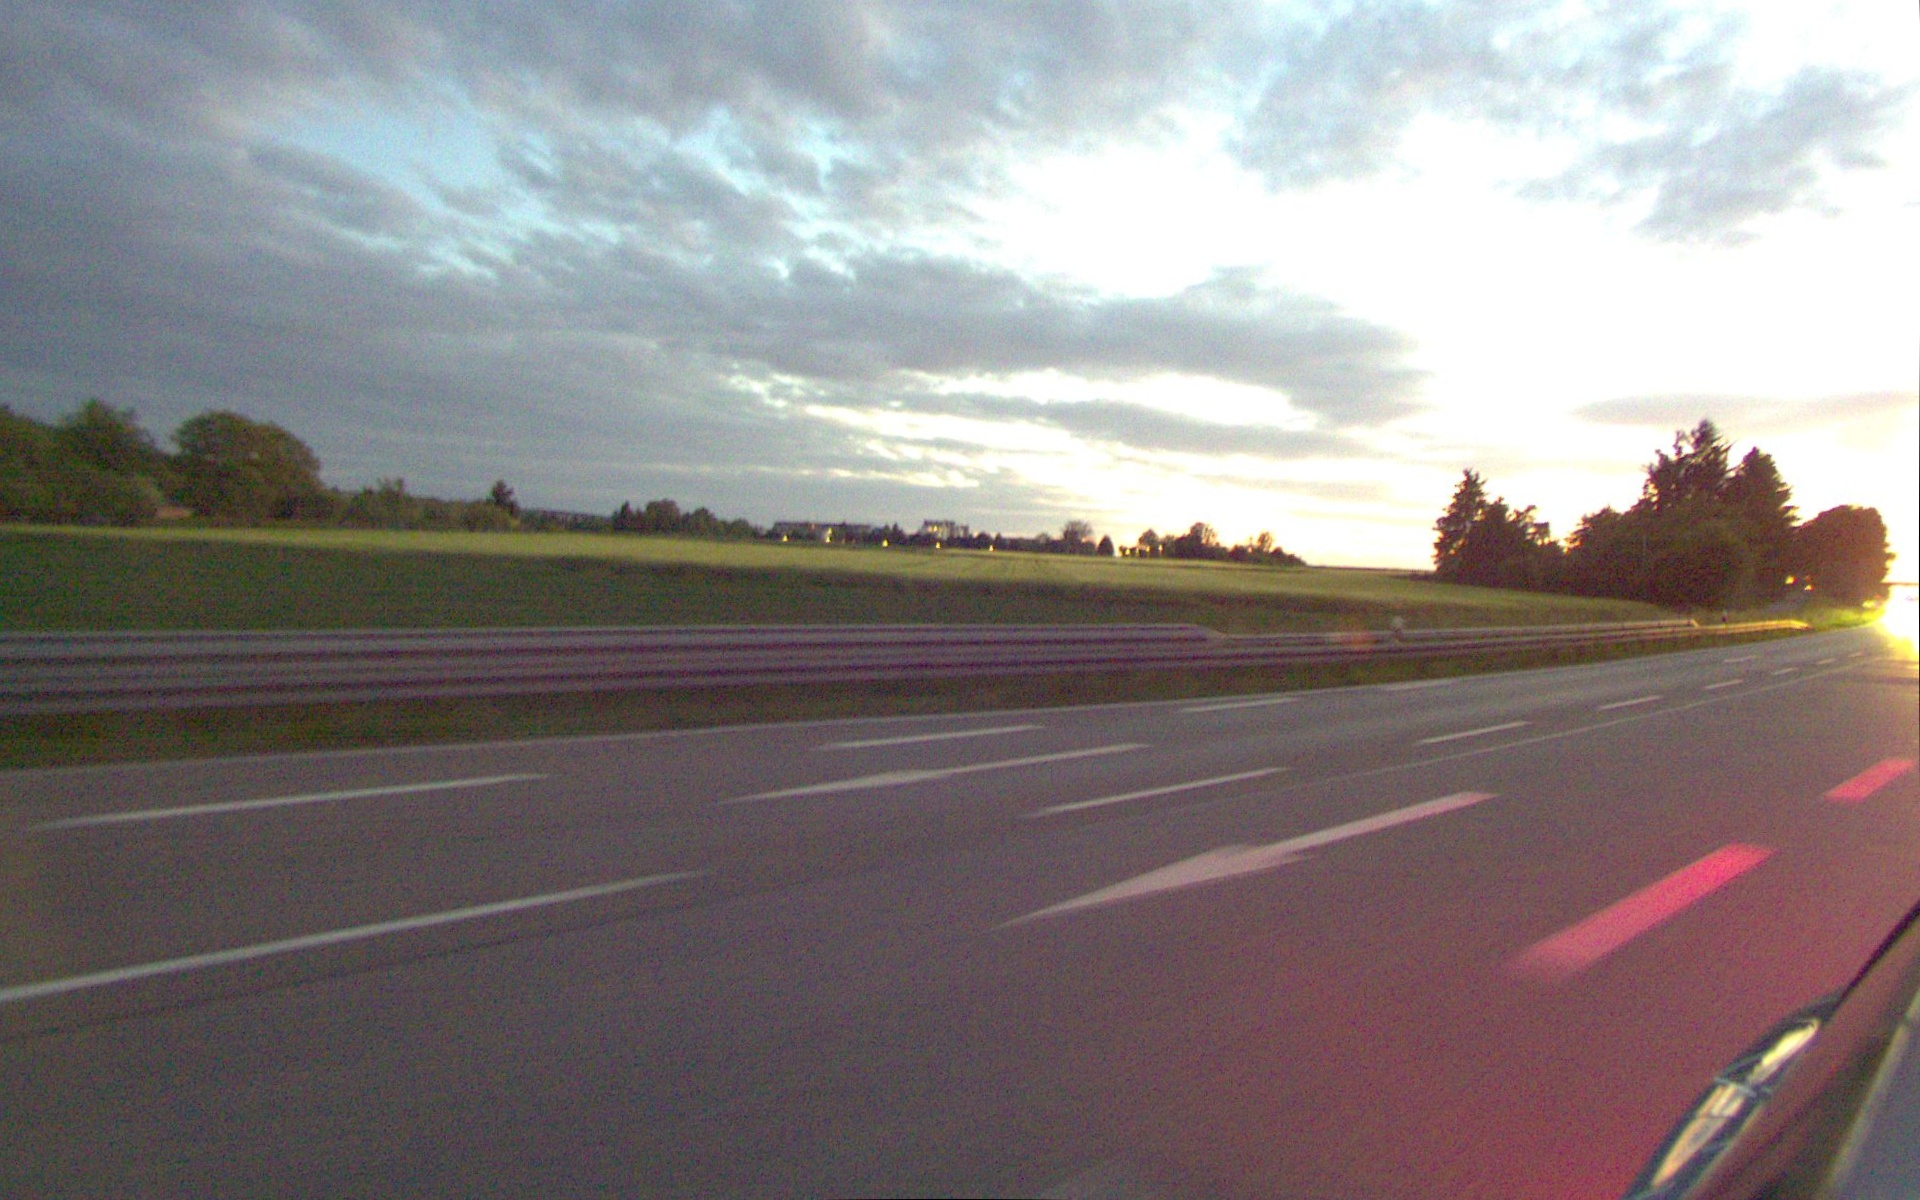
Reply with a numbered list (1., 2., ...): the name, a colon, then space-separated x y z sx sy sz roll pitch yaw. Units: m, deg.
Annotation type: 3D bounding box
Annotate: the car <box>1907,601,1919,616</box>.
1. car: 104.005 0.936 109.278 3.928 1.604 1.998 0 0 -39
